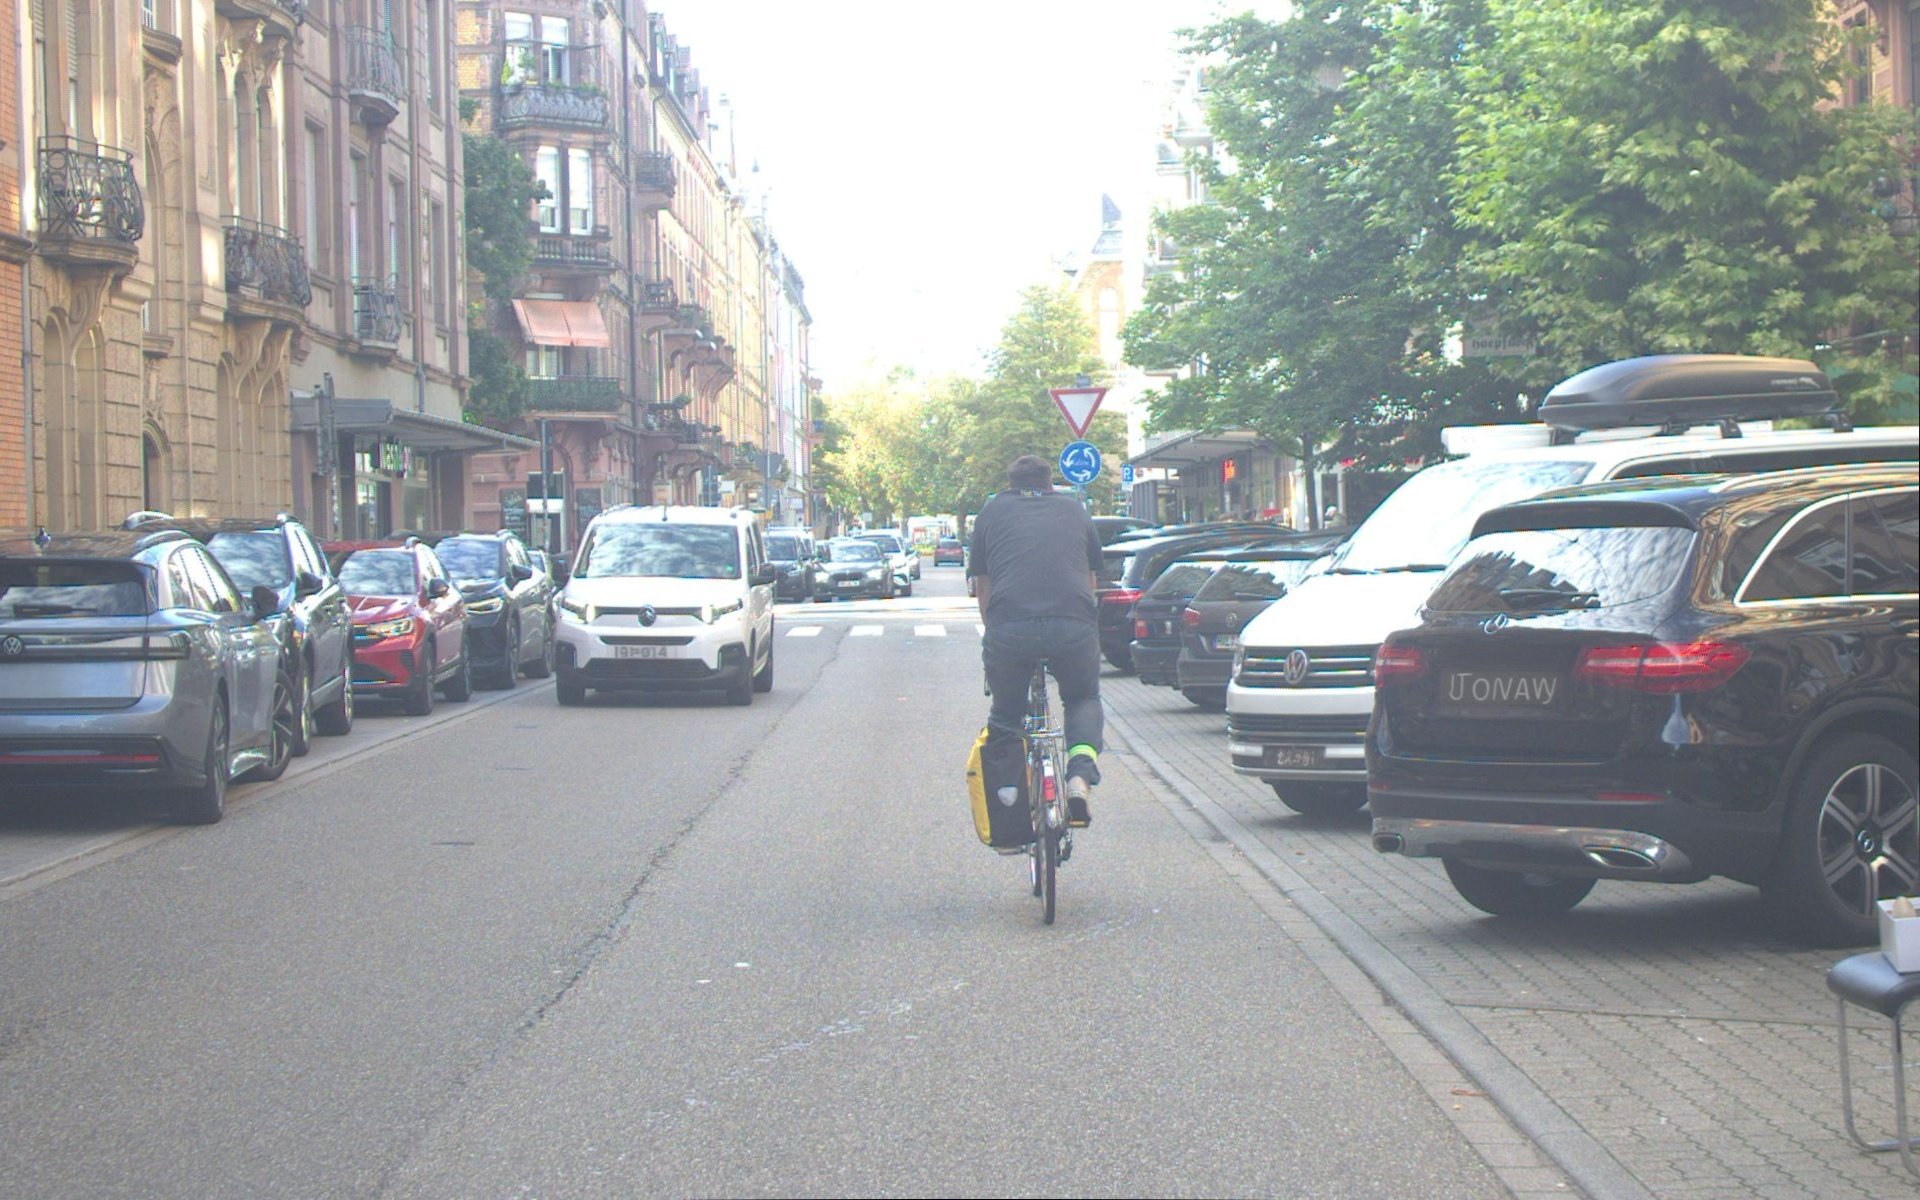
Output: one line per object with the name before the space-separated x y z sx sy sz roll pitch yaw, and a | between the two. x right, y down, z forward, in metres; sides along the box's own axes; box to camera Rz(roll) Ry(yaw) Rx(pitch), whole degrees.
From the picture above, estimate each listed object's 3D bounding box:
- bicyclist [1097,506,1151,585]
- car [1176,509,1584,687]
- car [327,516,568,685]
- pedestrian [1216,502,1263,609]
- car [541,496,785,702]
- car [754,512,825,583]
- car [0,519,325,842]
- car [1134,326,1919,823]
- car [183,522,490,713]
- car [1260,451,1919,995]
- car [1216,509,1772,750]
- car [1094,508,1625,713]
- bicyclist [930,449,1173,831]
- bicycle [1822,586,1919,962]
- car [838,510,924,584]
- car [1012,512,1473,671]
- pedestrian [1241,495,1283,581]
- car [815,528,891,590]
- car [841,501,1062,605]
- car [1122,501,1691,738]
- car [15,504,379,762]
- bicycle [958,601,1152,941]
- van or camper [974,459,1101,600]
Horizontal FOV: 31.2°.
bicyclist | 3.497 -1.166 73.136 0.856 1.660 0.788 1 1 34
car | 4.072 -0.053 33.084 3.709 1.480 1.741 -4 3 -38
car | -5.315 -0.030 36.225 1.790 1.623 4.847 -1 1 0
pedestrian | 4.594 -0.741 56.505 0.629 1.733 0.775 -1 1 12
car | -2.742 -0.049 32.638 1.917 1.822 4.438 0 1 0
car | -5.020 -1.576 101.706 1.993 2.007 4.001 -2 1 -2
car | -4.808 0.340 19.361 1.825 1.573 5.264 0 1 -4
car | 3.637 -0.229 18.766 5.144 2.397 1.918 -3 1 -33
car | -5.474 0.114 30.754 1.993 1.539 4.427 -1 1 -1
car | 3.487 0.329 12.988 4.444 1.726 2.000 -1 2 -35
car | 3.872 0.163 24.569 3.983 1.454 1.750 -4 2 -41
car | 3.550 0.045 30.207 4.455 1.459 1.879 -5 3 -35
bicyclist | 0.351 0.148 13.691 0.933 1.478 0.747 0 1 -1
bicycle | 3.502 0.552 10.501 0.404 1.178 1.918 -3 1 -31
car | -2.063 -1.436 90.847 1.943 1.716 4.850 -3 3 2
car | 3.194 -0.141 38.627 4.753 1.452 2.057 -4 3 -28
pedestrian | 6.562 -1.350 74.805 0.869 1.845 0.612 -1 1 5
car | -2.533 -0.969 81.404 1.750 1.431 4.212 0 0 -2
car | -0.178 -0.864 63.145 3.987 1.875 2.000 0 1 -1
car | 3.608 0.103 27.304 4.456 1.472 1.889 -6 4 -40
car | -5.417 0.152 25.016 1.872 1.675 4.895 0 2 -4
bicycle | 0.340 0.617 13.612 0.665 1.174 2.497 0 1 -1
van or camper | 1.707 -1.598 77.842 2.531 3.027 4.459 -1 1 -2
